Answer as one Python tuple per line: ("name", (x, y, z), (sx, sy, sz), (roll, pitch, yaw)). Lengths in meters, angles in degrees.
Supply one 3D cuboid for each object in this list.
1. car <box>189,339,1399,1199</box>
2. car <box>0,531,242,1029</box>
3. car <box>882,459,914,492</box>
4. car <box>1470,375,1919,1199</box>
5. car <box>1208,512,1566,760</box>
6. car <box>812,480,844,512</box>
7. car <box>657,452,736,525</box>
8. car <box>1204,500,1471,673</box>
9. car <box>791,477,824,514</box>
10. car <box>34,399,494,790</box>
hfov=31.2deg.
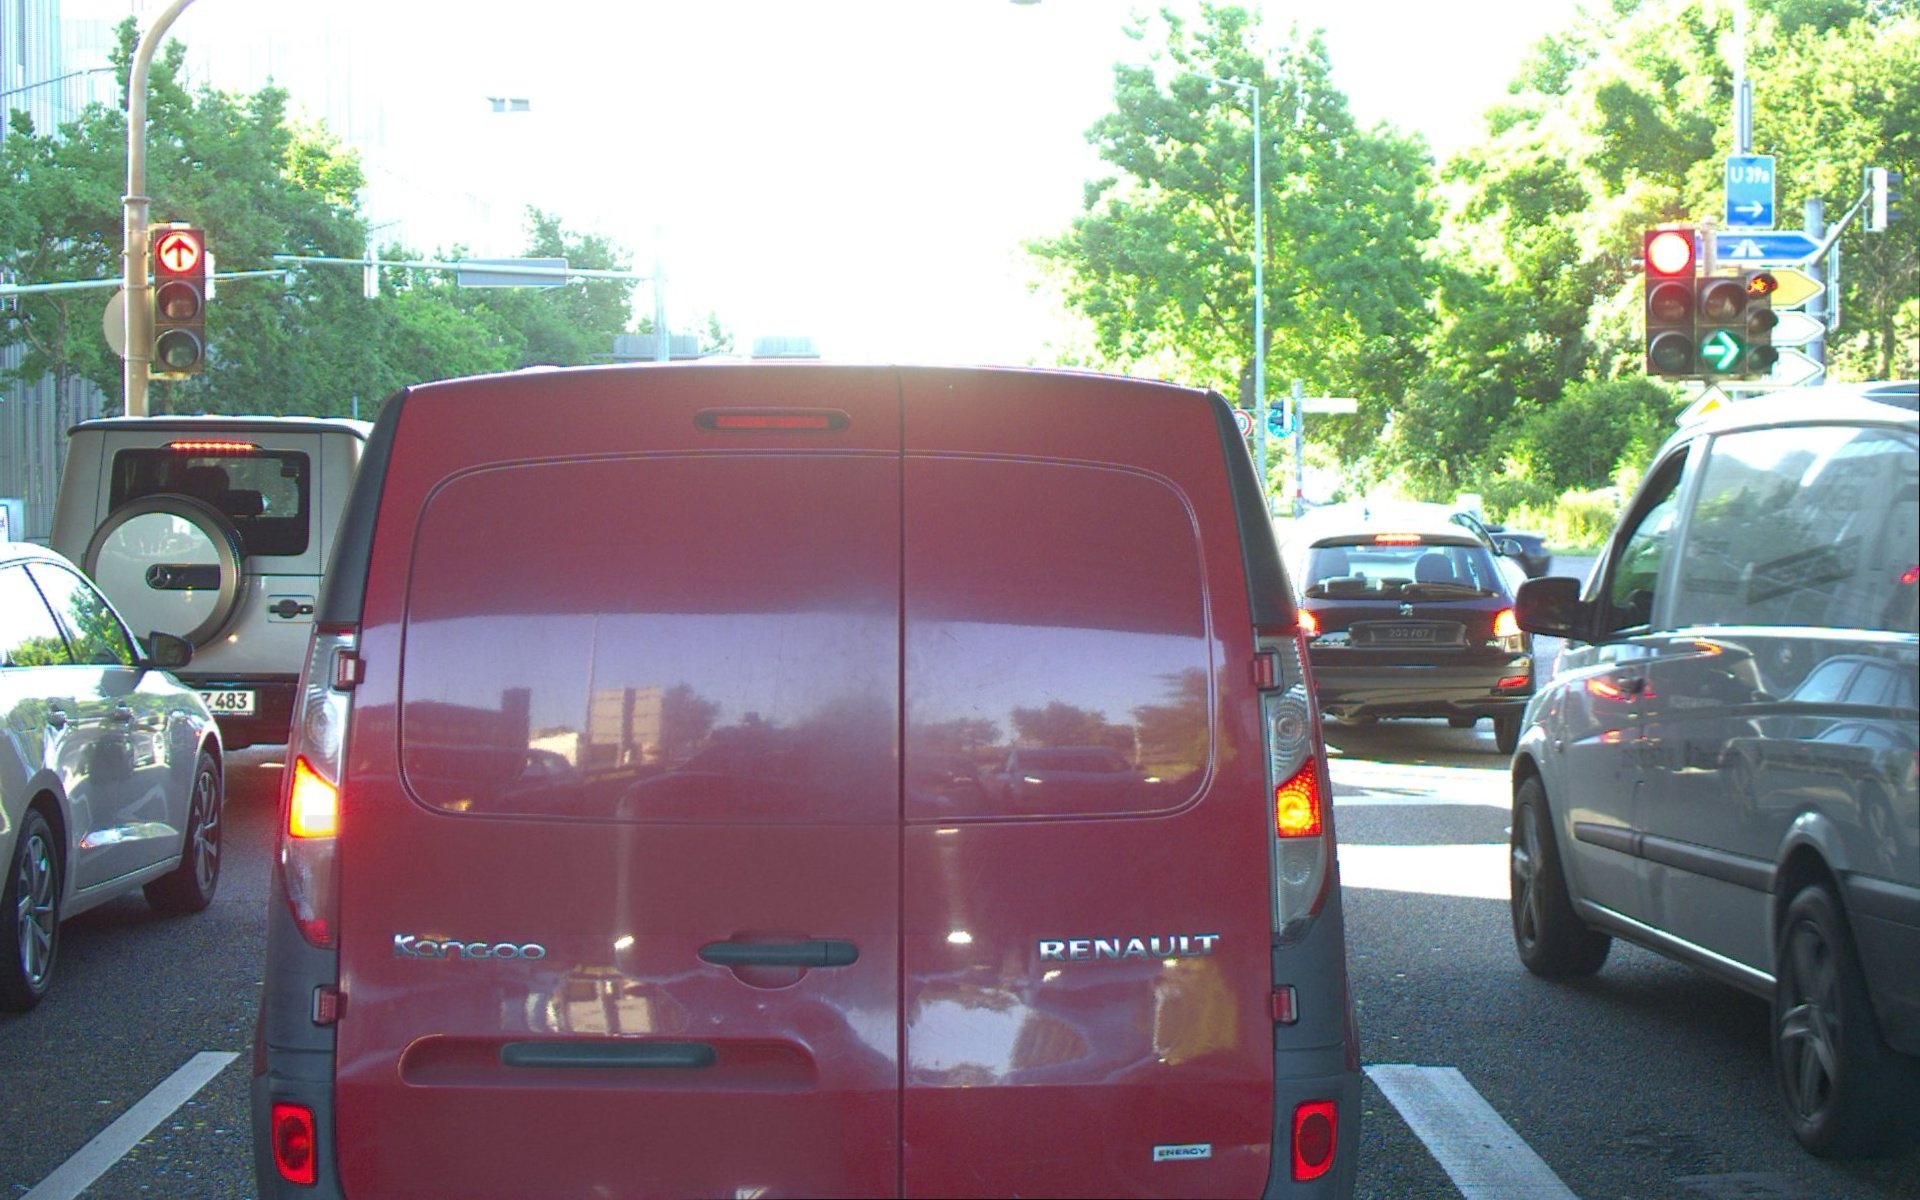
("car", (-0.264, 0.476, 6.935), (1.719, 1.758, 4.000), (1, 1, -1))
("car", (-3.610, 0.474, 11.488), (1.692, 1.405, 3.814), (1, 1, -1))
("car", (-3.959, -7.968, 220.674), (1.993, 2.007, 4.000), (1, 1, -1))
("car", (2.858, 0.402, 9.535), (1.897, 1.830, 4.836), (1, 1, -3))
("car", (2.672, 0.175, 22.299), (1.745, 1.451, 3.717), (1, 1, -2))
("car", (-8.840, -6.994, 230.983), (1.993, 2.007, 4.000), (1, 1, -1))
("car", (-7.684, -3.235, 100.550), (1.993, 2.007, 4.000), (1, 1, -1))
("car", (3.380, -0.166, 31.625), (1.745, 1.451, 4.665), (1, 1, -2))
("car", (-8.831, -6.033, 198.913), (1.748, 2.007, 3.845), (1, 1, -1))
("car", (-3.680, -0.064, 18.810), (1.813, 1.897, 3.814), (1, 1, -1))
